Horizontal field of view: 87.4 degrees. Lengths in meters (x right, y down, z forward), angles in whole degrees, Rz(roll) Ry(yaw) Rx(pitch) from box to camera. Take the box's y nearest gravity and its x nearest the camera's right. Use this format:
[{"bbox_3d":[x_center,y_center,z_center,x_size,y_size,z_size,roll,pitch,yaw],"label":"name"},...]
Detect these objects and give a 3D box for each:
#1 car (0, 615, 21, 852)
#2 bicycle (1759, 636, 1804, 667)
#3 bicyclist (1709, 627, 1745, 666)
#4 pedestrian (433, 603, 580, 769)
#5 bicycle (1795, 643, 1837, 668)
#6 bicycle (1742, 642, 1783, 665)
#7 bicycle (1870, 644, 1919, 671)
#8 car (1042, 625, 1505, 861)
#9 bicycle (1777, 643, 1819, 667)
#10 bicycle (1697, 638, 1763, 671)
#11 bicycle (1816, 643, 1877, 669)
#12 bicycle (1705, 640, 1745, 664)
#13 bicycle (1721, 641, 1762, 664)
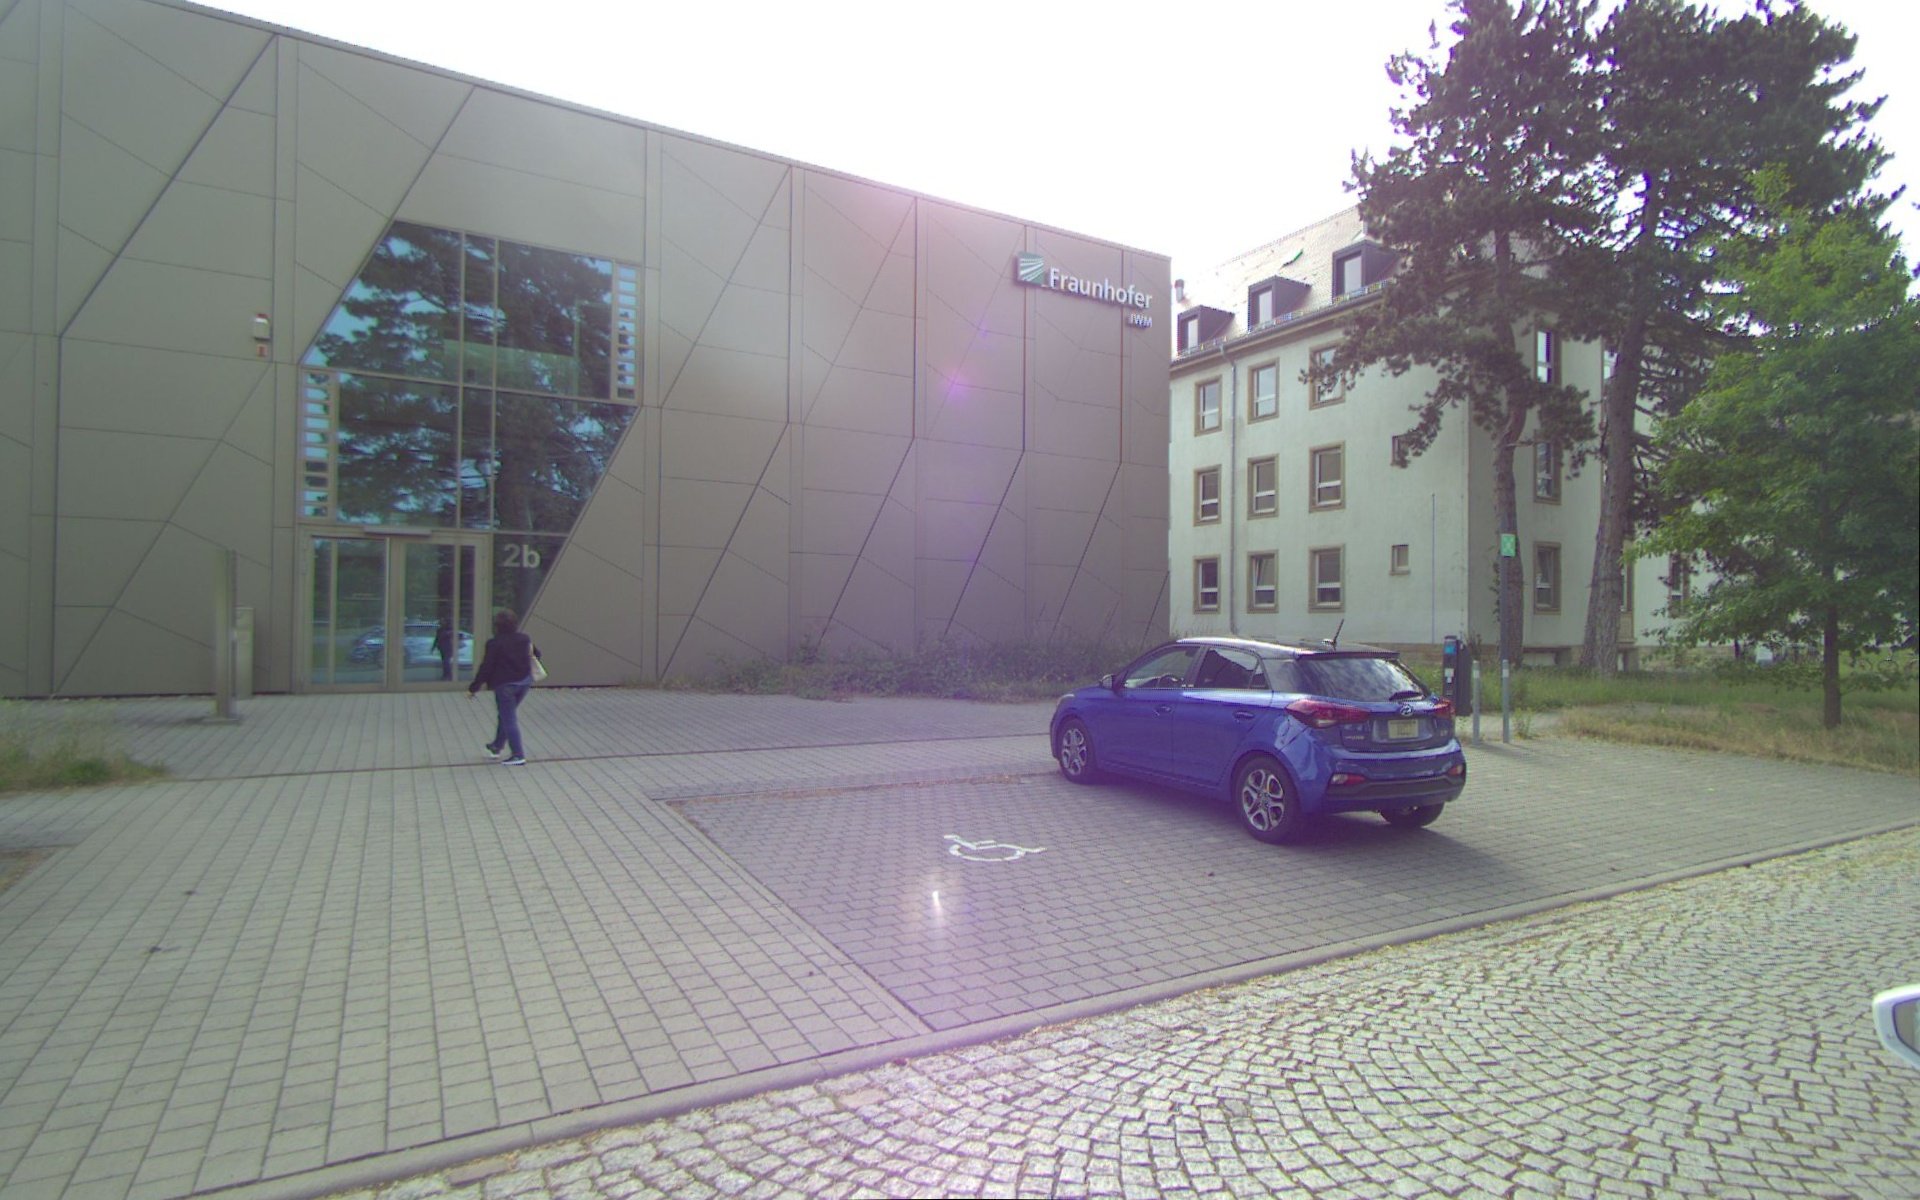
[{"bbox_3d":[-5.689,0.819,4.219,1.755,1.447,4.280,1,0,-32],"label":"car"},{"bbox_3d":[38.171,2.369,46.652,2.679,1.404,0.732,2,-2,-30],"label":"bicycle"},{"bbox_3d":[34.185,2.056,44.763,0.943,1.719,0.919,2,-2,-21],"label":"bicyclist"},{"bbox_3d":[-4.421,0.810,9.844,0.966,1.514,0.819,2,-1,13],"label":"pedestrian"},{"bbox_3d":[38.603,2.481,45.302,2.246,1.090,0.732,2,-2,-30],"label":"bicycle"},{"bbox_3d":[37.876,2.520,47.404,2.246,1.090,0.732,2,-2,-30],"label":"bicycle"},{"bbox_3d":[39.197,2.390,41.749,0.821,1.090,1.849,1,-2,-27],"label":"bicycle"},{"bbox_3d":[2.481,1.028,8.891,1.828,1.497,3.752,1,0,-27],"label":"car"},{"bbox_3d":[38.225,2.497,45.822,2.246,1.090,0.732,2,-2,-30],"label":"bicycle"},{"bbox_3d":[34.207,2.394,44.675,0.925,1.405,2.175,1,-2,-21],"label":"bicycle"},{"bbox_3d":[38.255,2.413,43.377,0.729,1.090,1.849,1,-2,-27],"label":"bicycle"},{"bbox_3d":[36.853,2.505,48.396,2.246,1.090,0.732,2,-2,-30],"label":"bicycle"},{"bbox_3d":[37.145,2.493,47.721,2.246,1.090,0.732,2,-2,-30],"label":"bicycle"}]
